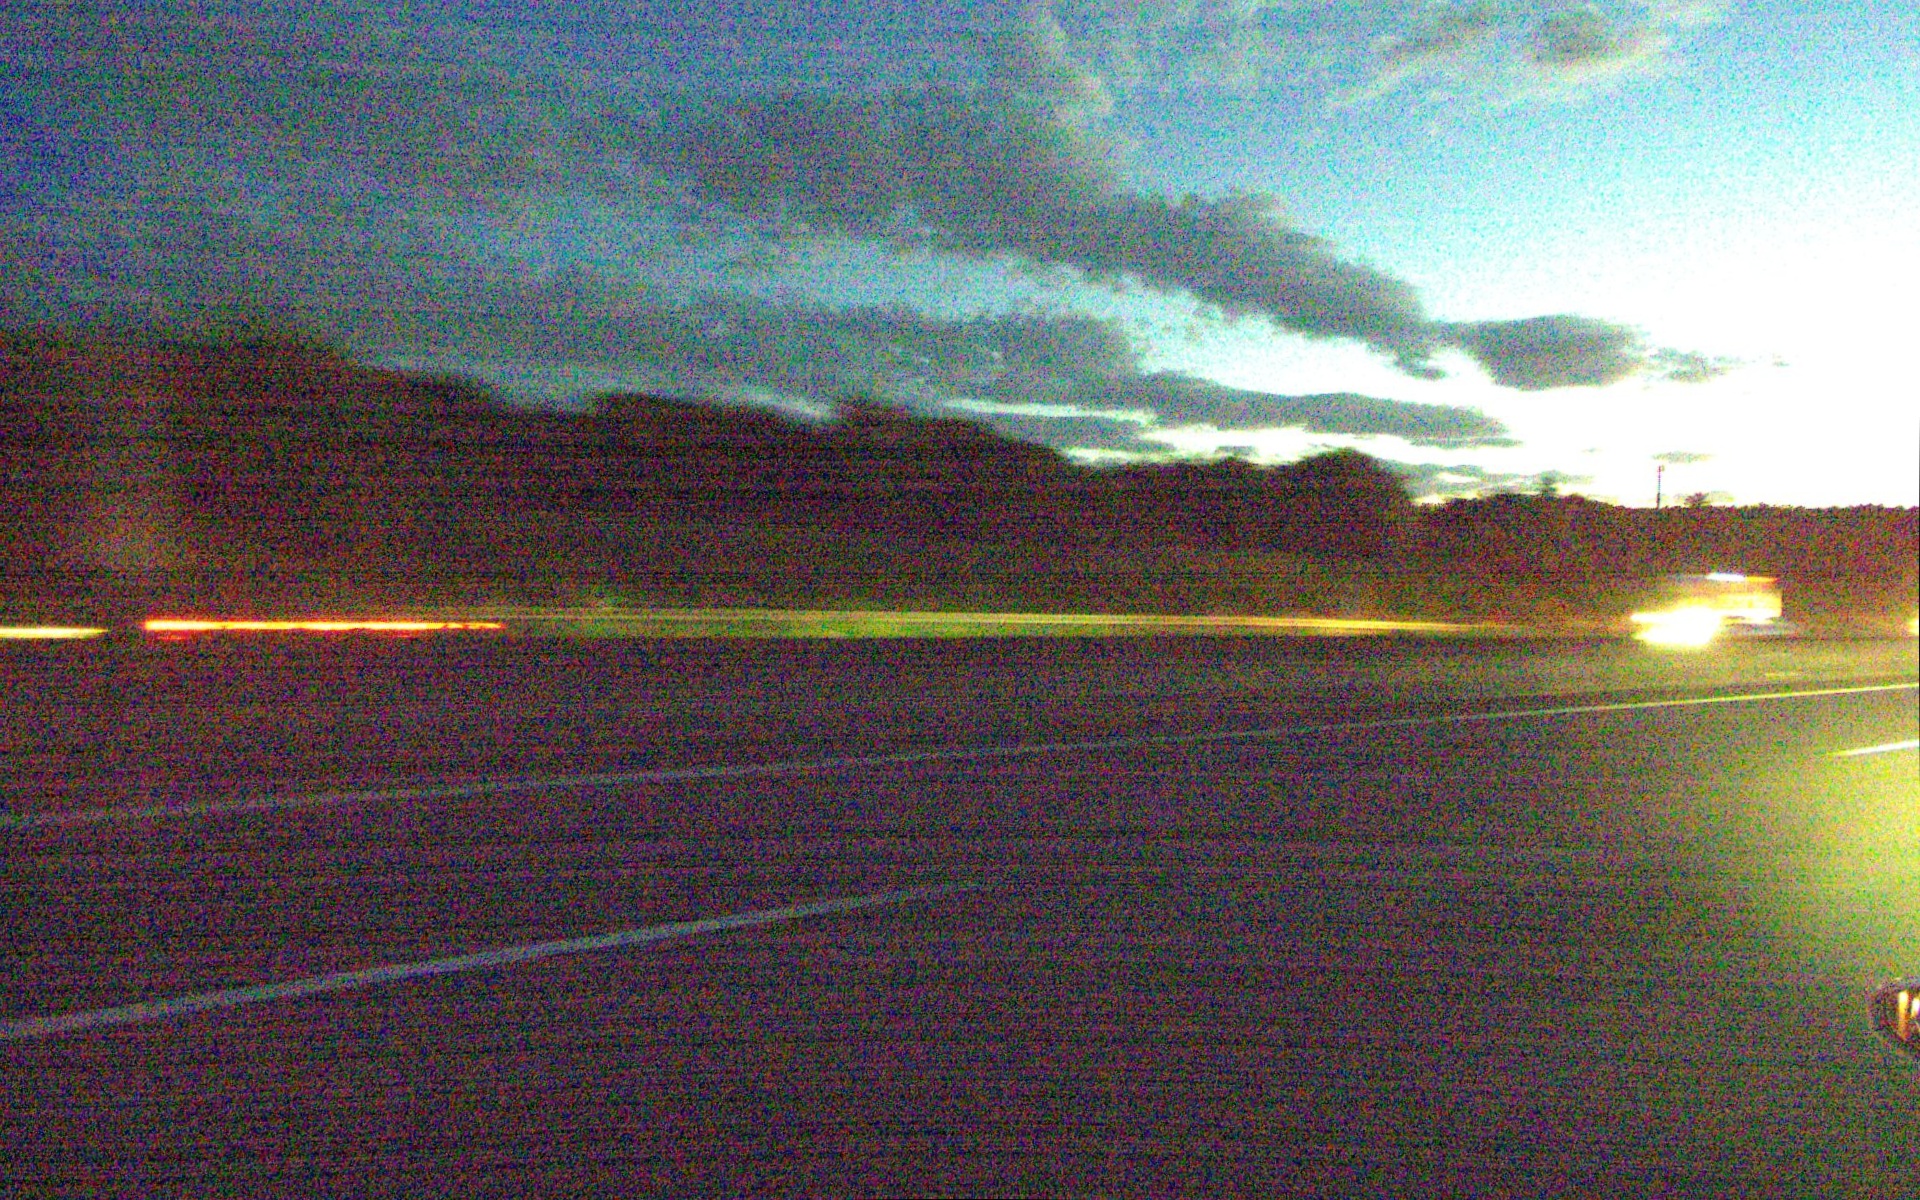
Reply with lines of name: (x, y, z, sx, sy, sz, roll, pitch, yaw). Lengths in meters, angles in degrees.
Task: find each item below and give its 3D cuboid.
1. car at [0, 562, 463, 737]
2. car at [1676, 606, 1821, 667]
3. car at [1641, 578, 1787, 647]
car: (-8.506, 0.521, 11.868, 4.604, 1.757, 1.984, 1, 0, -30)
car: (24.614, 1.121, 31.332, 4.604, 1.757, 1.984, 1, 0, -30)
car: (34.893, 0.617, 46.380, 8.237, 2.975, 2.445, 1, 0, -31)
